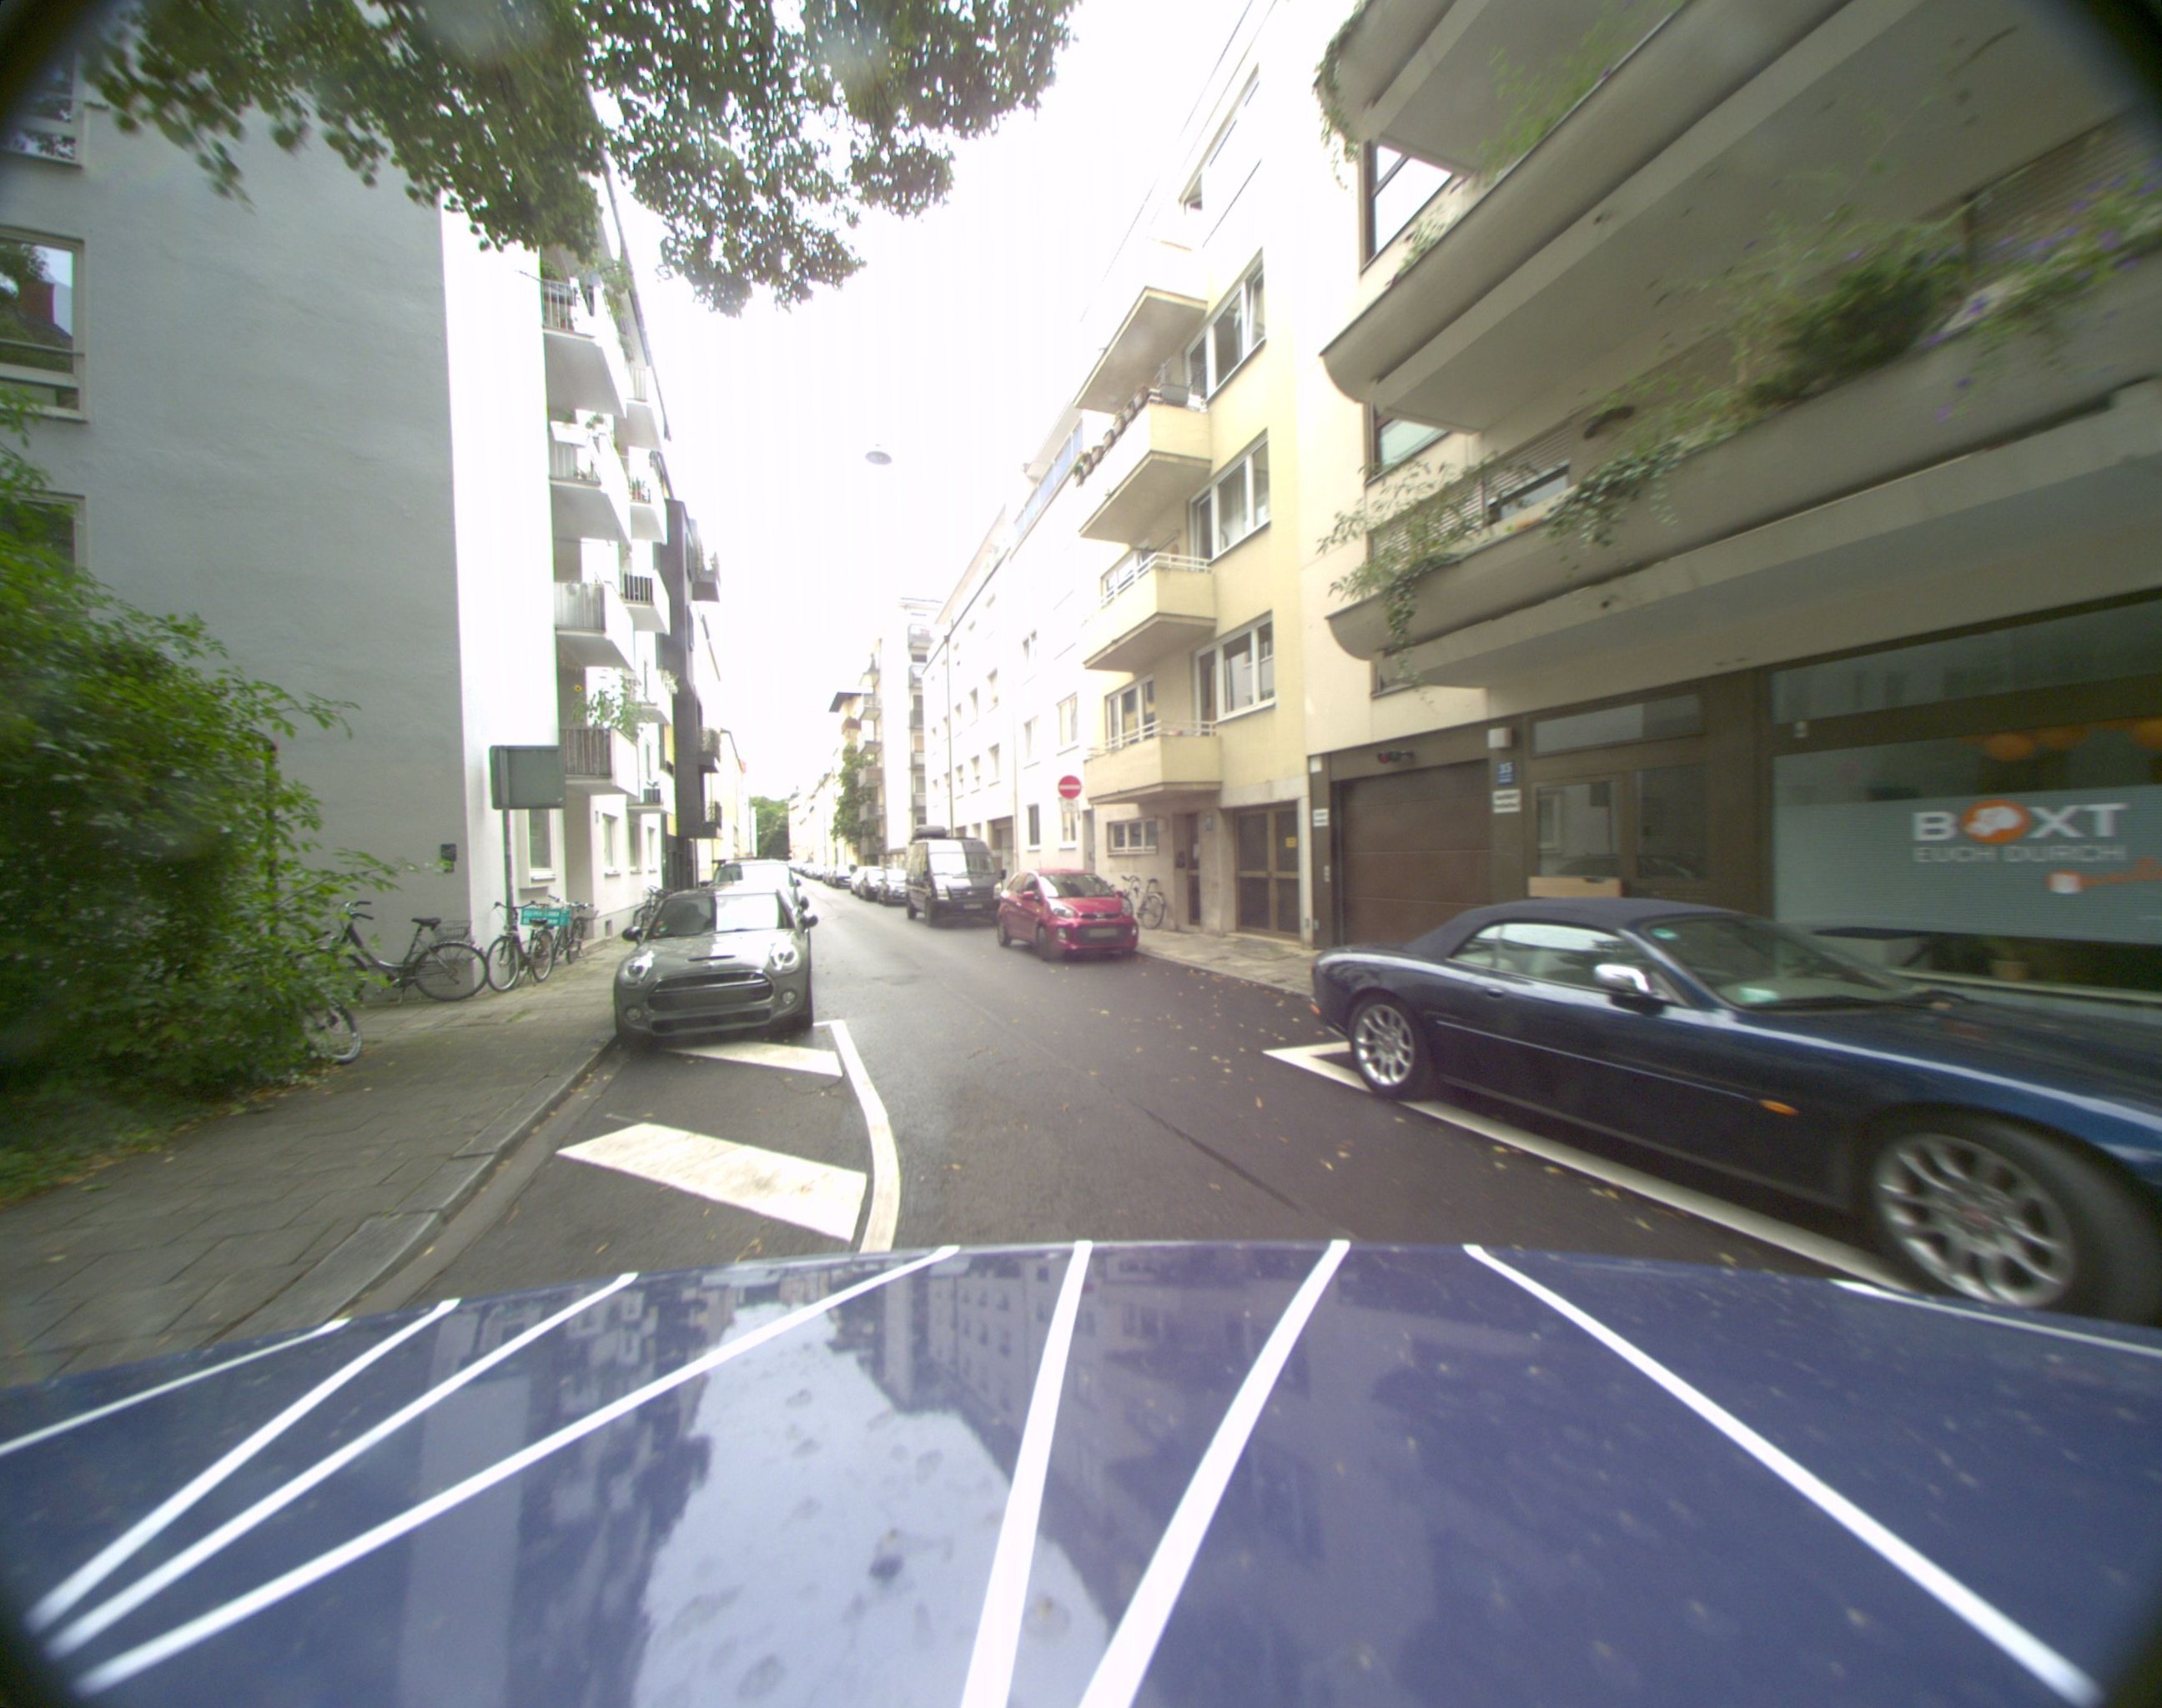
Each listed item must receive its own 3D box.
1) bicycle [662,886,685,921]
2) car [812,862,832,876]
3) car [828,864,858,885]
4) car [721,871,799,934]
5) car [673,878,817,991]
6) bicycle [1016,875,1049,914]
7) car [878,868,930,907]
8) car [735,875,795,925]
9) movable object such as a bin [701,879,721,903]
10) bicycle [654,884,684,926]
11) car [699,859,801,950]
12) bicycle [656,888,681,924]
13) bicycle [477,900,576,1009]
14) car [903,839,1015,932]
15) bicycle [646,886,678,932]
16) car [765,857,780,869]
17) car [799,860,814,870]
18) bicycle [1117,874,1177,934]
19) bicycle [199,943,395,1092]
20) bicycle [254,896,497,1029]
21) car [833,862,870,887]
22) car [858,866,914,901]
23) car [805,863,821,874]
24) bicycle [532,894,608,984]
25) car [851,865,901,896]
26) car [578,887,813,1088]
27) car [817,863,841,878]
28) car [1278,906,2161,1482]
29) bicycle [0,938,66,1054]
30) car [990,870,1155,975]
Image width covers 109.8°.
[{"bbox_3d":[-13.355,1.607,24.939,0.479,1.042,1.519,-2,0,-22],"label":"bicycle"},{"bbox_3d":[-29.287,1.696,85.824,1.899,1.444,4.288,-2,1,-22],"label":"car"},{"bbox_3d":[-18.136,1.507,57.803,1.821,1.433,4.288,-2,1,-22],"label":"car"},{"bbox_3d":[-9.659,1.375,22.963,1.914,1.545,4.616,-2,1,-22],"label":"car"},{"bbox_3d":[-5.538,1.180,12.698,1.841,1.411,4.051,-1,0,-23],"label":"car"},{"bbox_3d":[-1.534,1.243,23.768,0.465,1.091,1.867,-2,1,-20],"label":"bicycle"},{"bbox_3d":[-7.309,1.315,31.207,1.618,1.438,3.736,1,0,-20],"label":"car"},{"bbox_3d":[-11.467,1.579,27.494,1.767,1.423,4.253,-5,2,-24],"label":"car"},{"bbox_3d":[-17.989,1.794,36.984,0.799,1.133,0.573,-2,1,-23],"label":"movable object such as a bin"},{"bbox_3d":[-12.246,1.506,22.600,0.573,1.144,1.560,-2,0,-22],"label":"bicycle"},{"bbox_3d":[-7.757,1.050,18.009,1.882,1.781,4.773,-2,1,-22],"label":"car"},{"bbox_3d":[-12.723,1.587,23.457,0.479,0.997,1.549,-3,1,-22],"label":"bicycle"},{"bbox_3d":[-7.397,1.286,10.228,0.562,1.212,1.914,-3,0,-21],"label":"bicycle"},{"bbox_3d":[-3.605,0.782,21.497,2.027,2.265,5.380,0,0,-21],"label":"car"},{"bbox_3d":[-11.606,1.501,21.059,0.573,1.144,1.428,-2,0,-22],"label":"bicycle"},{"bbox_3d":[-45.417,1.310,111.795,1.899,1.621,4.288,-2,1,-22],"label":"car"},{"bbox_3d":[-42.206,1.605,116.771,1.899,1.444,4.288,-2,1,-22],"label":"car"},{"bbox_3d":[1.350,1.011,15.837,0.469,1.142,1.757,-3,0,-21],"label":"bicycle"},{"bbox_3d":[-6.337,1.270,6.132,1.631,1.049,0.452,-2,1,21],"label":"bicycle"},{"bbox_3d":[-7.760,1.152,8.478,1.856,1.223,0.577,-3,1,-29],"label":"bicycle"},{"bbox_3d":[-15.837,1.370,52.275,1.975,1.597,4.532,-2,1,-22],"label":"car"},{"bbox_3d":[-9.142,1.311,35.398,1.809,1.409,4.218,-2,1,-24],"label":"car"},{"bbox_3d":[-36.035,1.940,102.120,1.899,1.444,4.288,-2,1,-22],"label":"car"},{"bbox_3d":[-8.246,1.311,12.347,0.626,1.212,2.244,-3,0,-25],"label":"bicycle"},{"bbox_3d":[-10.894,1.333,40.174,1.920,1.429,4.799,-2,1,-22],"label":"car"},{"bbox_3d":[-3.924,1.169,8.307,1.750,1.432,3.993,-1,0,-21],"label":"car"},{"bbox_3d":[-25.122,1.643,75.703,1.975,1.369,4.288,-2,1,-22],"label":"car"},{"bbox_3d":[3.115,1.025,3.661,1.805,1.270,4.608,0,-1,-22],"label":"car"},{"bbox_3d":[-10.742,1.368,6.909,1.704,1.017,0.538,-3,0,-28],"label":"bicycle"},{"bbox_3d":[-0.298,1.080,13.524,1.626,1.487,3.702,-1,0,-23],"label":"car"}]
